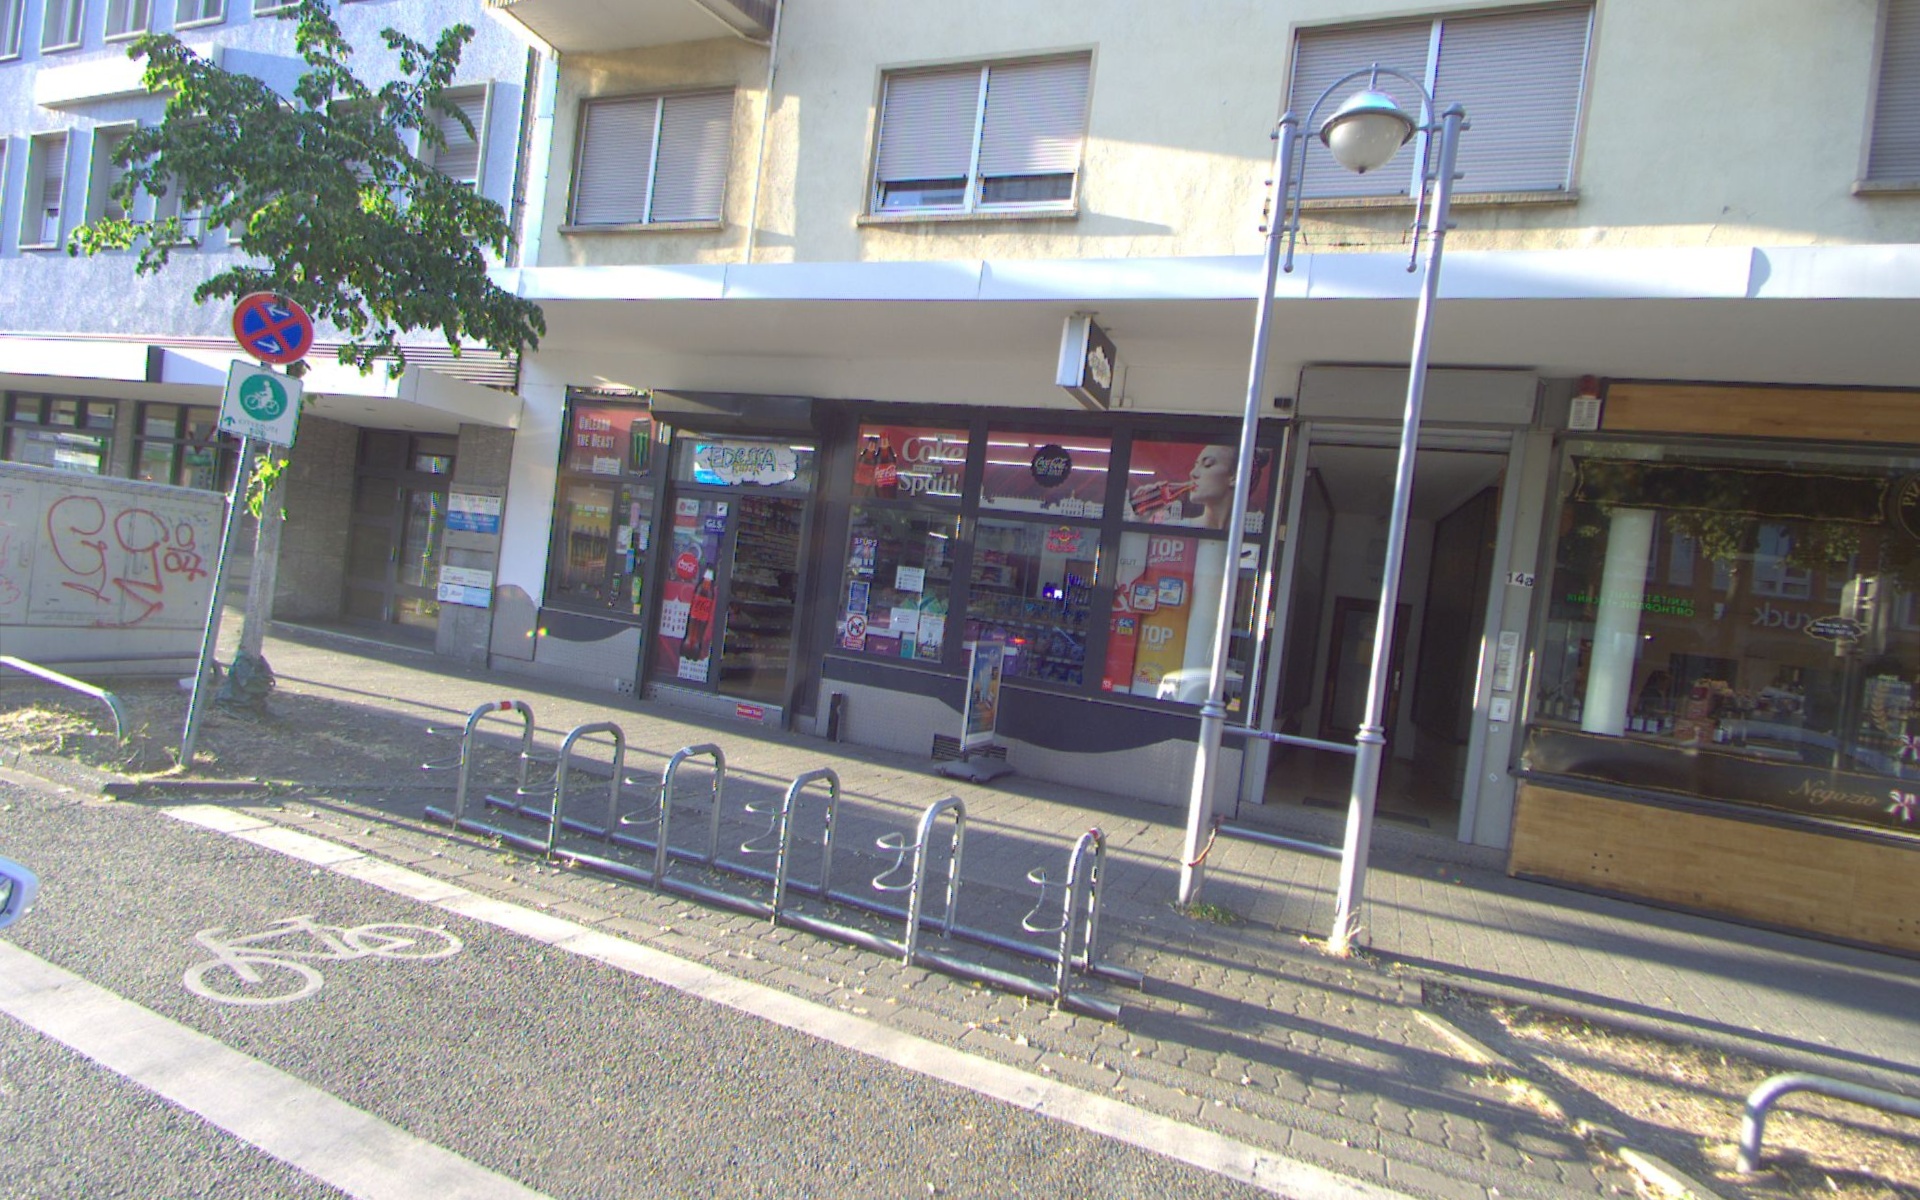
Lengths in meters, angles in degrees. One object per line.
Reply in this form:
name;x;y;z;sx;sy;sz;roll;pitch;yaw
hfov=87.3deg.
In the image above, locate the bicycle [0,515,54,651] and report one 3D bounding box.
bicycle;-9.235;-0.213;9.067;0.376;1.234;1.445;7;-1;25
